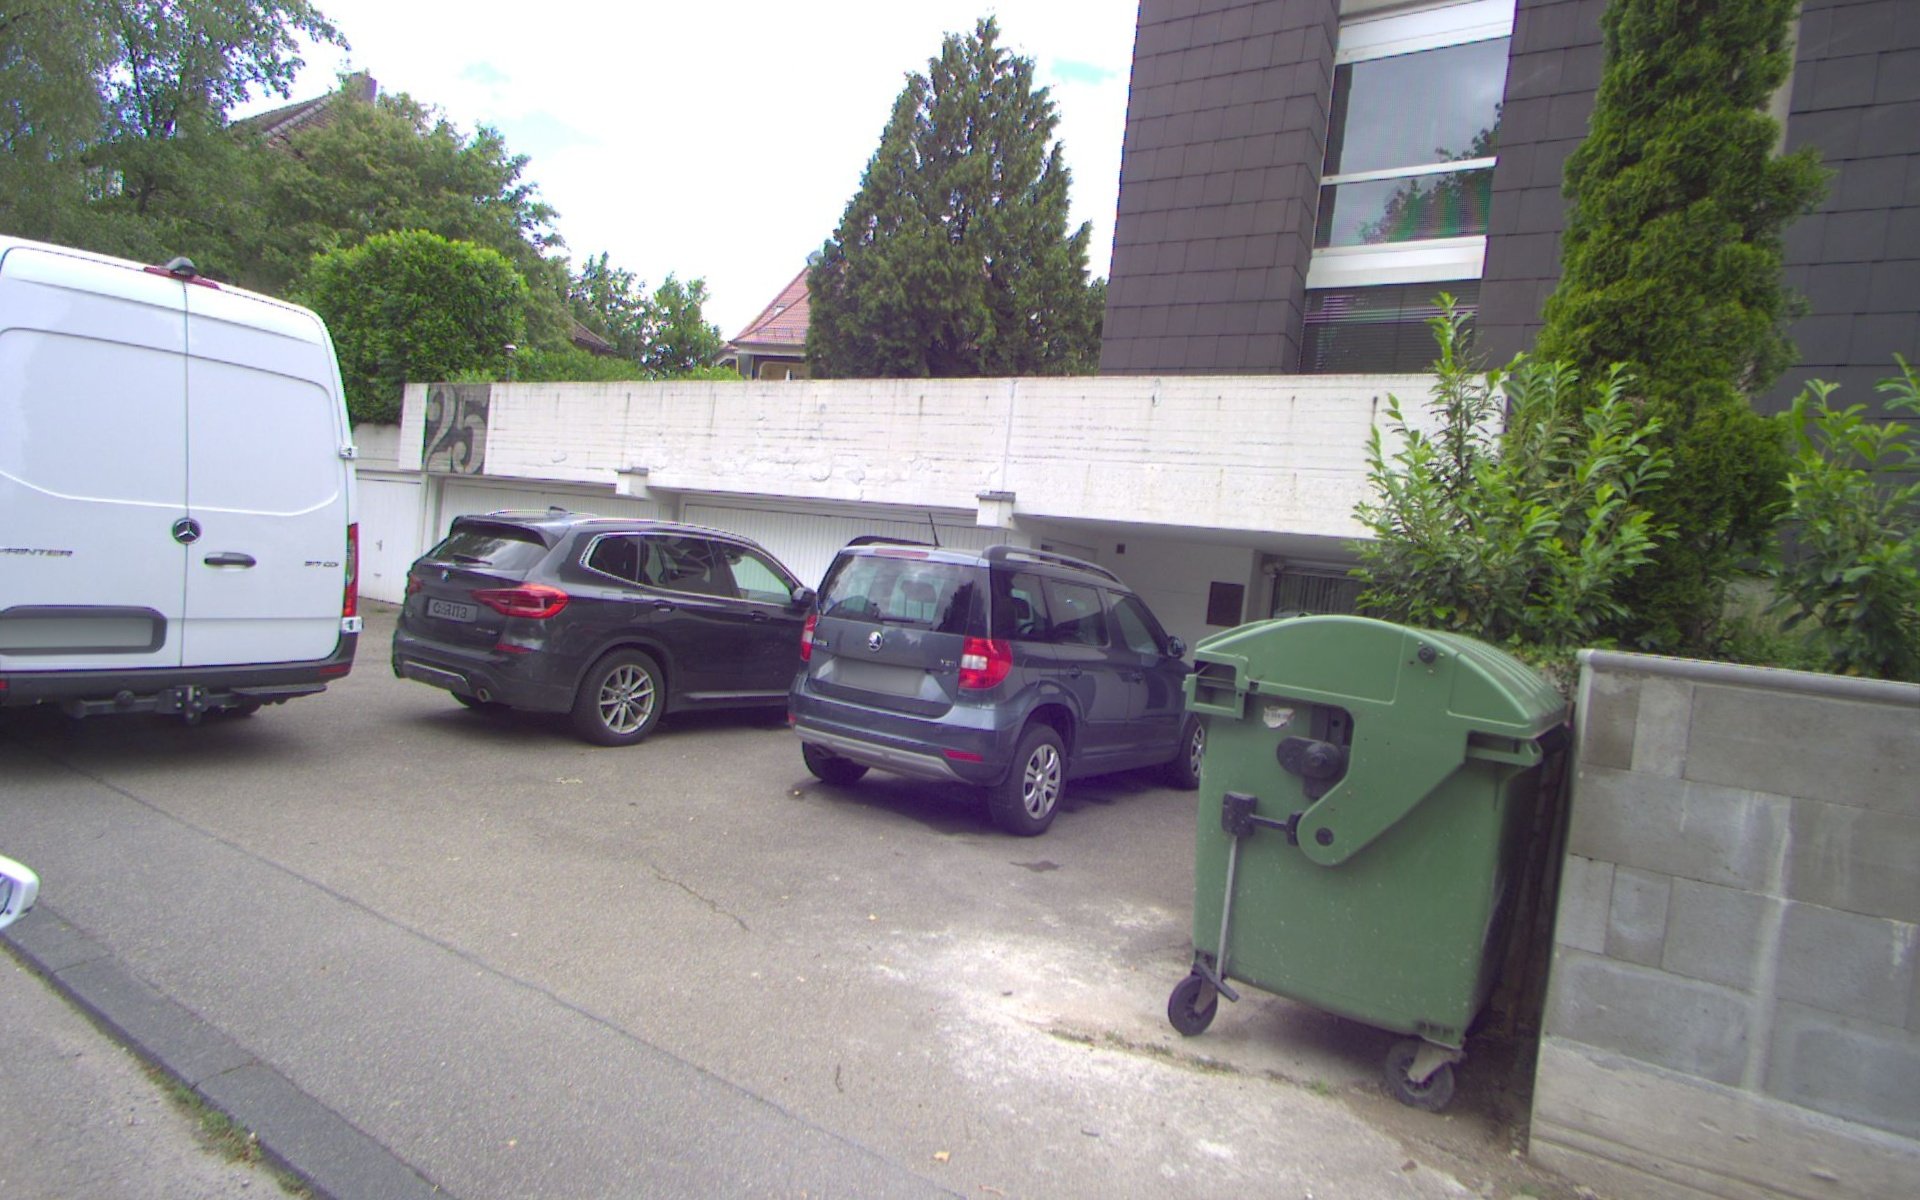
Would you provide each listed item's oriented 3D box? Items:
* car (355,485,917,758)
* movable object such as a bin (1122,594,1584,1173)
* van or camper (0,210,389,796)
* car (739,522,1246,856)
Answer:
[{"bbox_3d":[-2.433,0.176,8.707,1.800,1.674,4.395,7,2,33],"label":"car"},{"bbox_3d":[1.426,0.786,3.549,1.161,1.470,1.300,6,2,31],"label":"movable object such as a bin"},{"bbox_3d":[-6.664,-0.714,6.837,6.252,2.664,1.963,7,4,31],"label":"van or camper"},{"bbox_3d":[0.490,0.523,7.377,1.801,1.674,3.796,7,2,35],"label":"car"}]
